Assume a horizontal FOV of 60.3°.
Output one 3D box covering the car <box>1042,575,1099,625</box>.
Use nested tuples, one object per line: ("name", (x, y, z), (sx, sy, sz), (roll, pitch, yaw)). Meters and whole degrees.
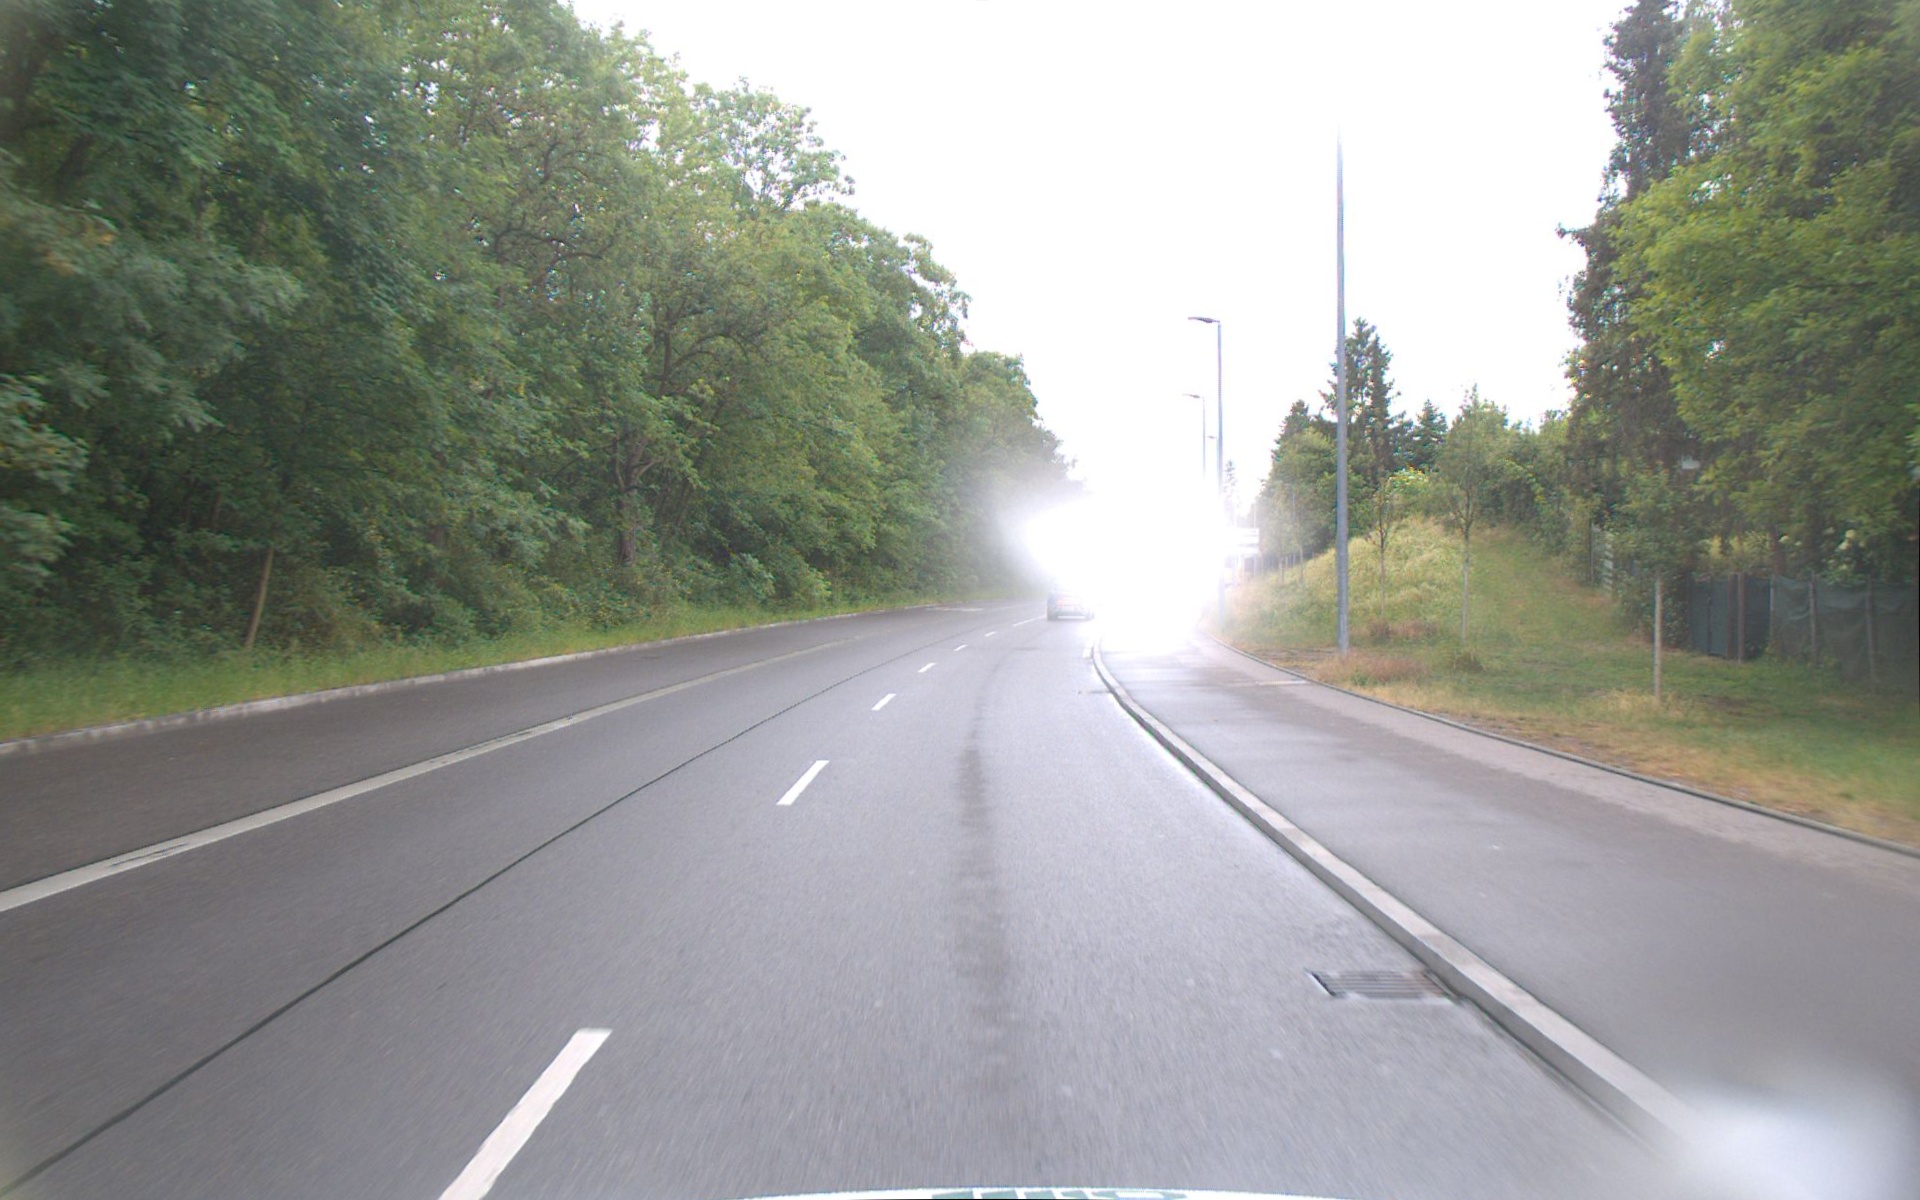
("car", (4.333, -0.026, 64.473), (1.951, 1.718, 4.004), (-1, 2, 7))

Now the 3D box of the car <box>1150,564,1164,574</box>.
("car", (29.013, -4.561, 243.729), (1.951, 1.445, 4.003), (0, 1, 5))

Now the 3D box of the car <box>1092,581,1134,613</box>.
("car", (7.968, -0.172, 86.094), (1.886, 1.512, 3.803), (-1, 2, 9))

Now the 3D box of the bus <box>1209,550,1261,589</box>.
("bus", (23.830, -2.610, 142.954), (2.758, 3.197, 9.182), (0, 1, 20))

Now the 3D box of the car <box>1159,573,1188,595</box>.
("car", (15.848, -1.200, 122.578), (1.951, 1.579, 4.004), (0, 1, 10))
